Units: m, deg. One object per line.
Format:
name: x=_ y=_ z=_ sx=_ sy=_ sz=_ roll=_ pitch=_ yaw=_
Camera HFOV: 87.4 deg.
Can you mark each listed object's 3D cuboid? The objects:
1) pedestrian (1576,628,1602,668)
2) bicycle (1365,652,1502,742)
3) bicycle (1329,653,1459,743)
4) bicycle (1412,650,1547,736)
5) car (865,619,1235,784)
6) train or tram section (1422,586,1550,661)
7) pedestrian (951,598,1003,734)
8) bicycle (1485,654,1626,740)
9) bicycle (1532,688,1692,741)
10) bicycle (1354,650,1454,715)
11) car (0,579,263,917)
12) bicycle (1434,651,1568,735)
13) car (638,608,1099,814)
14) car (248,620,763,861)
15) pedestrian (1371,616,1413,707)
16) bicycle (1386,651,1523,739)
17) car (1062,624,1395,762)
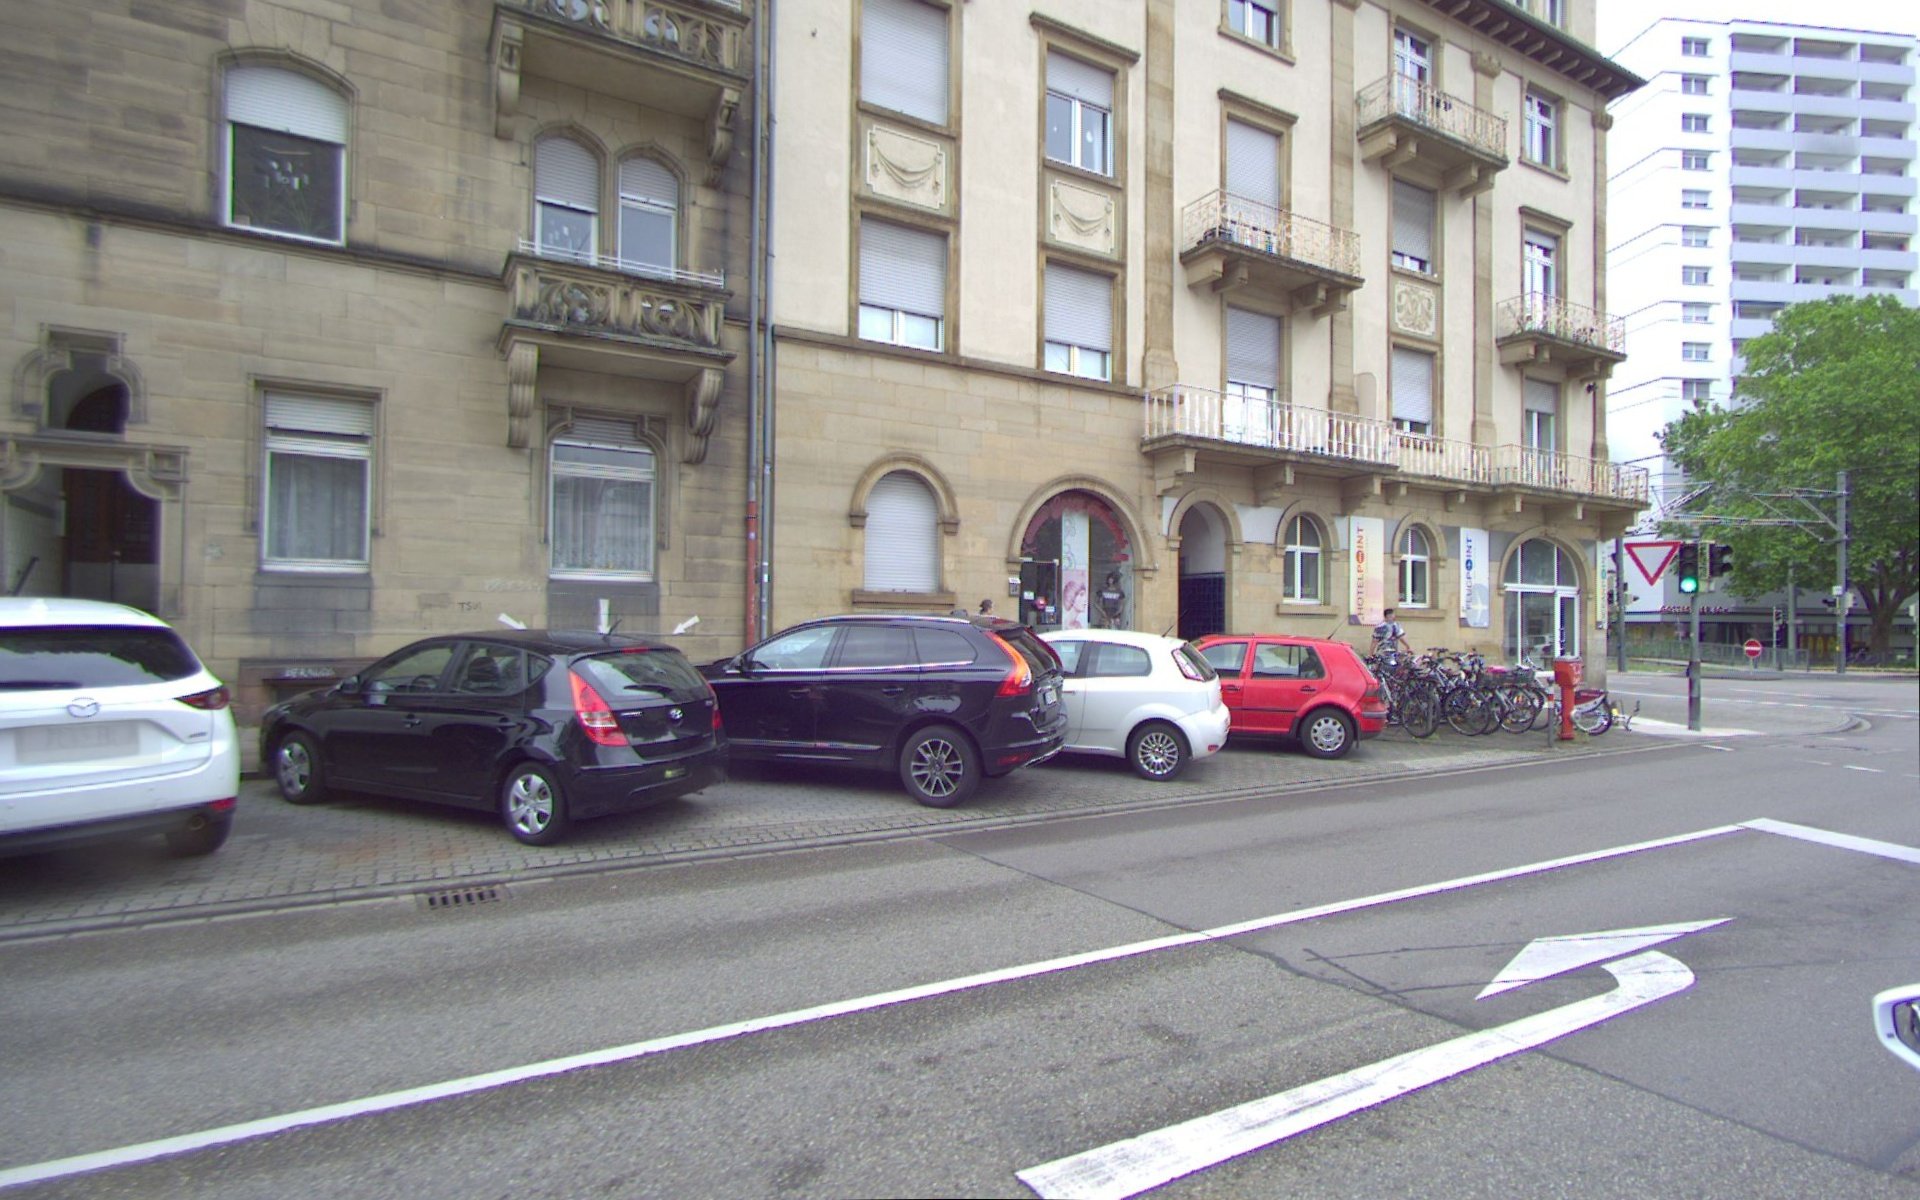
pedestrian: x=25.731 y=1.955 z=41.112 sx=0.577 sy=1.624 sz=0.733 roll=0 pitch=-2 yaw=-6
bicycle: x=7.049 y=1.421 z=15.055 sx=0.437 sy=1.050 sz=1.876 roll=1 pitch=4 yaw=-31
bicycle: x=6.309 y=1.402 z=14.730 sx=0.436 sy=1.050 sz=1.880 roll=1 pitch=3 yaw=-26
bicycle: x=8.058 y=1.411 z=15.678 sx=0.437 sy=1.050 sz=1.876 roll=1 pitch=4 yaw=-31
car: x=1.055 y=1.050 z=11.498 sx=3.920 sy=1.492 sz=1.565 roll=2 pitch=0 yaw=19
train or tram section: x=28.521 y=1.335 z=54.910 sx=2.635 sy=3.810 sz=7.256 roll=1 pitch=-2 yaw=-6
pedestrian: x=0.258 y=0.972 z=15.032 sx=0.544 sy=1.984 sz=0.617 roll=1 pitch=-2 yaw=-28
bicycle: x=9.318 y=1.482 z=15.801 sx=0.437 sy=1.050 sz=1.876 roll=1 pitch=4 yaw=-31
bicycle: x=10.360 y=1.799 z=16.022 sx=1.017 sy=0.451 sz=1.876 roll=0 pitch=4 yaw=-31
bicycle: x=7.592 y=1.390 z=17.146 sx=1.973 sy=1.041 sz=0.499 roll=1 pitch=-2 yaw=-30
car: x=-6.498 y=0.755 z=6.702 sx=3.935 sy=1.746 sz=1.834 roll=2 pitch=0 yaw=37
bicycle: x=8.584 y=1.445 z=16.025 sx=0.437 sy=1.050 sz=1.876 roll=1 pitch=4 yaw=-31
car: x=-0.861 y=0.954 z=9.870 sx=4.141 sy=1.673 sz=1.732 roll=1 pitch=-1 yaw=19
car: x=-3.810 y=0.997 z=8.427 sx=3.923 sy=1.514 sz=1.731 roll=1 pitch=-1 yaw=24
pedestrian: x=8.746 y=1.235 z=20.363 sx=0.544 sy=1.809 sz=0.564 roll=1 pitch=-2 yaw=-28
bicycle: x=7.501 y=1.416 z=15.334 sx=0.437 sy=1.050 sz=1.876 roll=1 pitch=4 yaw=-31
car: x=3.407 y=1.135 z=13.148 sx=3.919 sy=1.492 sz=1.685 roll=1 pitch=0 yaw=12
